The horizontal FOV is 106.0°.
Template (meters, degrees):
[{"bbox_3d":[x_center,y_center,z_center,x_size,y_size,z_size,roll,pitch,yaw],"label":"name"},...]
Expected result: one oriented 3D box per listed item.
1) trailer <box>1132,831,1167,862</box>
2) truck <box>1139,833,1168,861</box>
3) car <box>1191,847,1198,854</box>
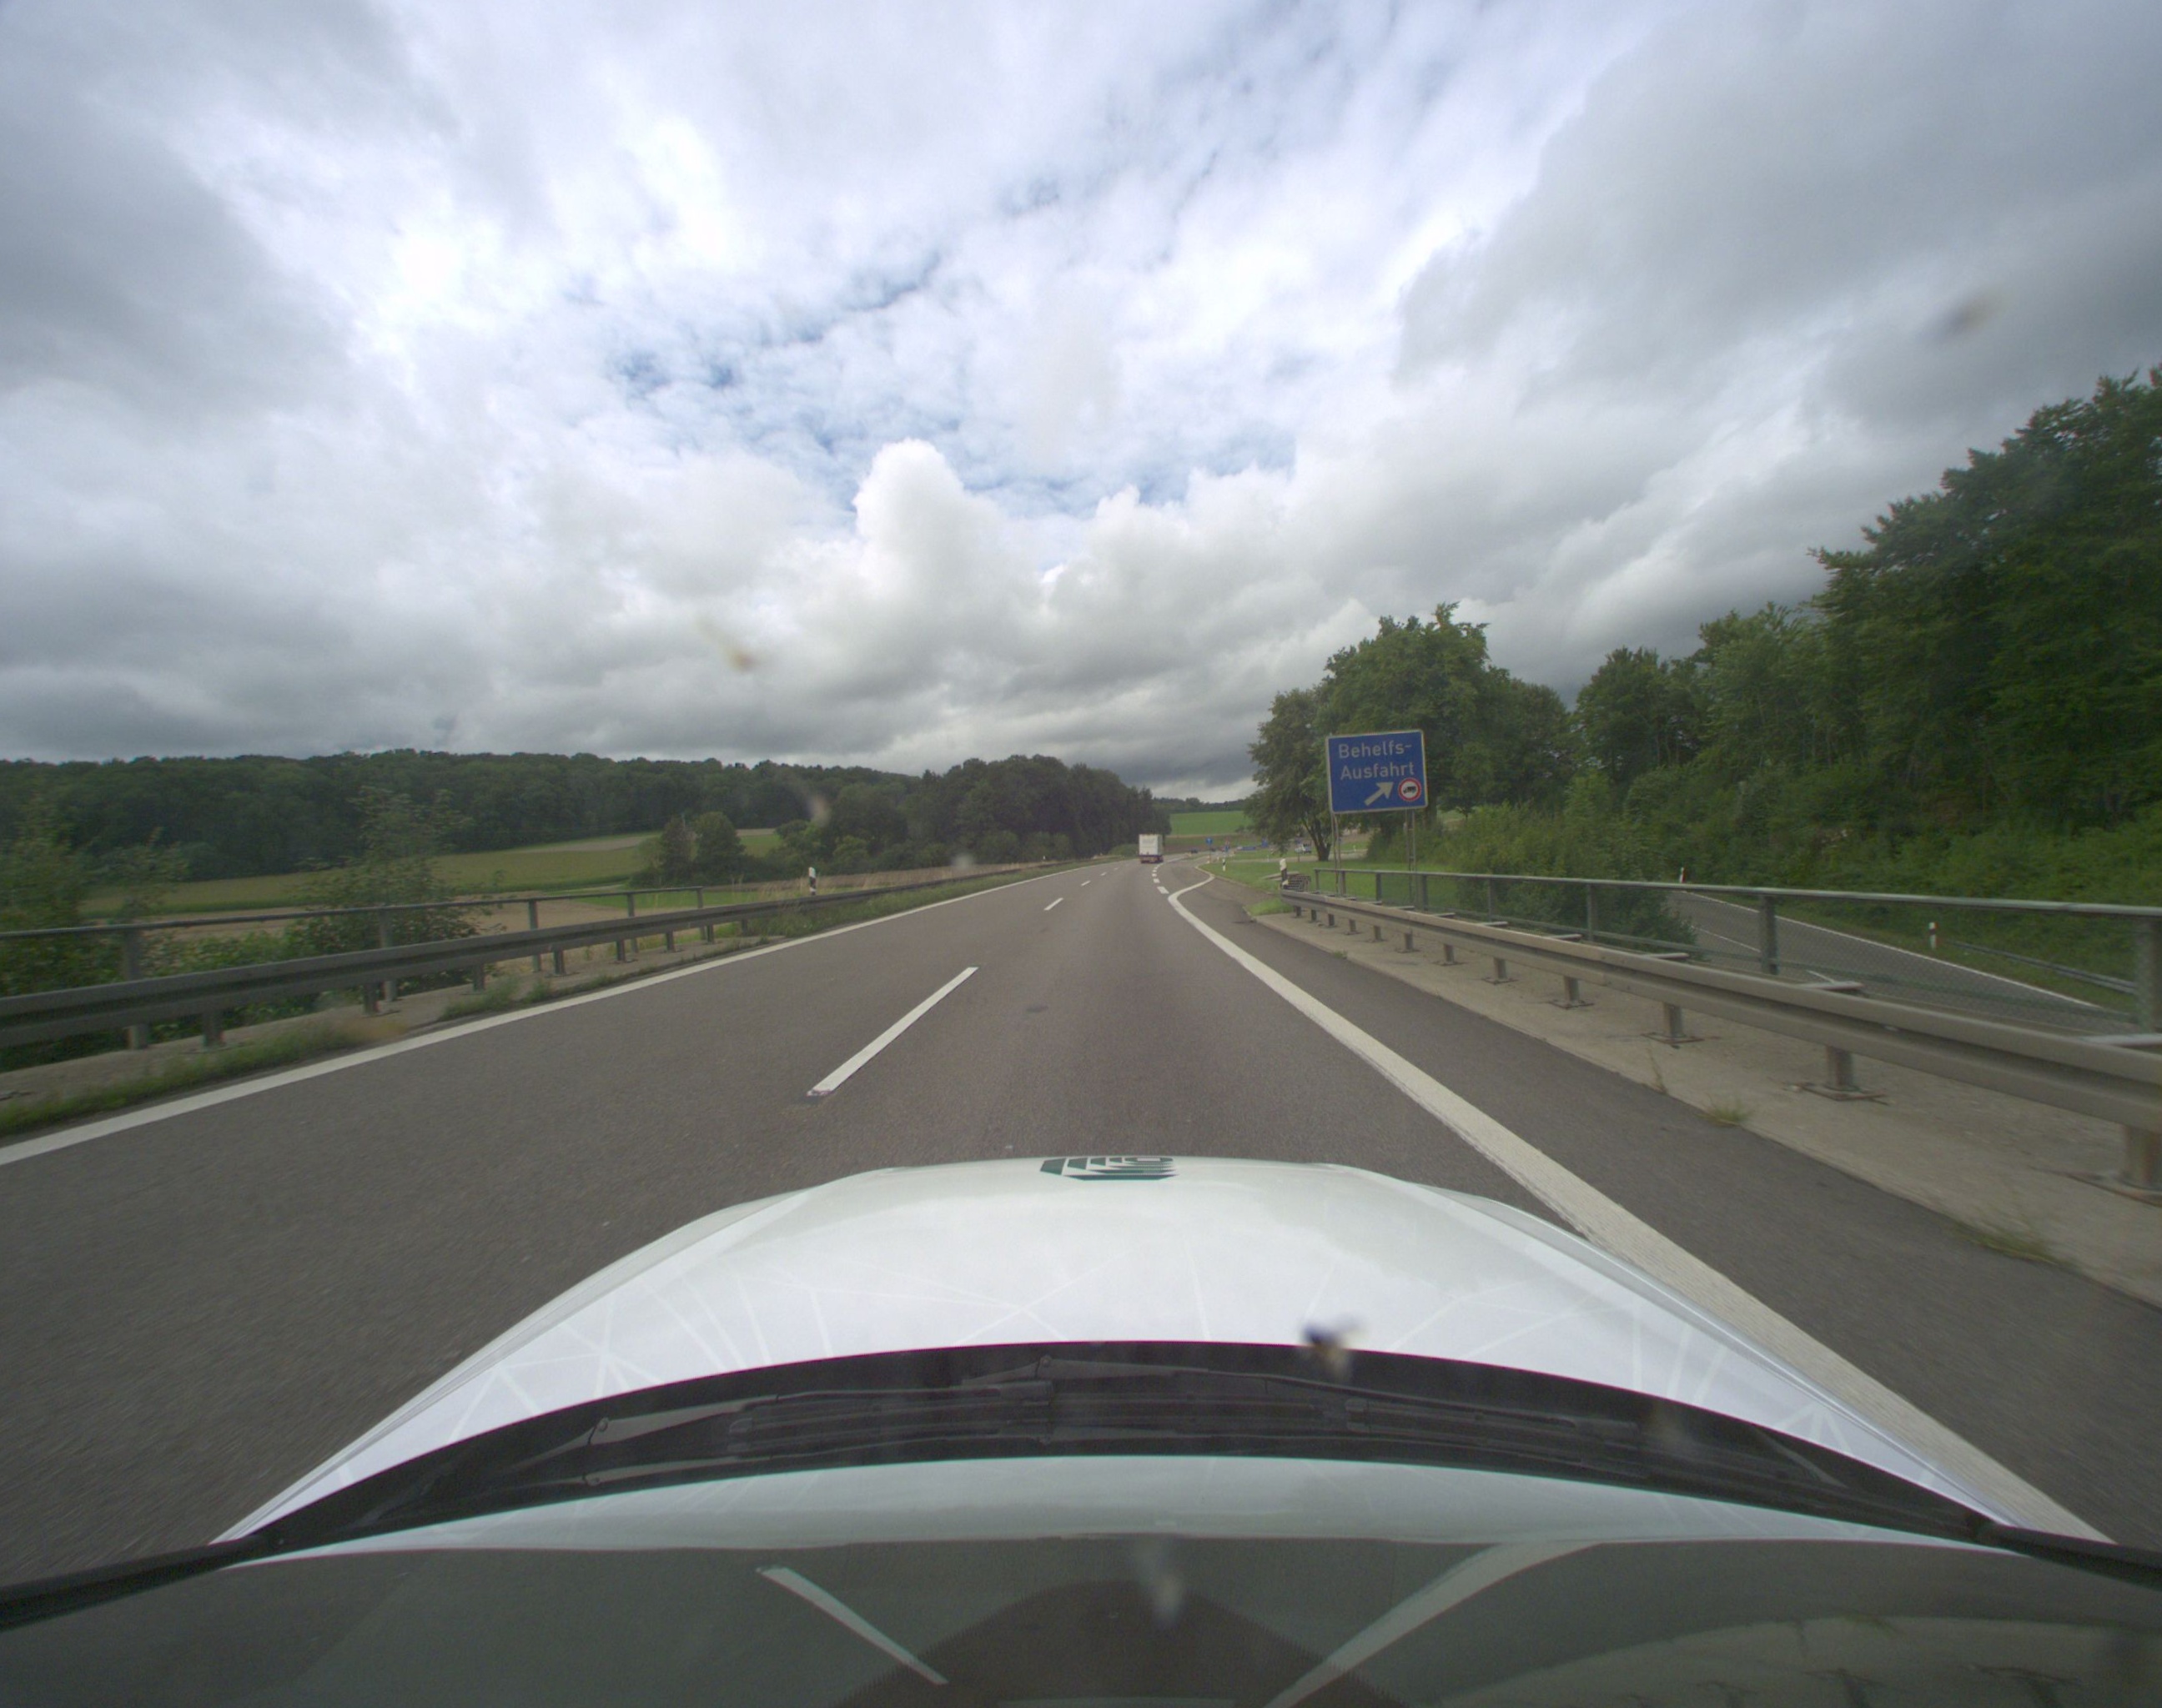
[{"bbox_3d":[9.910,-1.047,116.137,3.783,4.174,14.846,-1,0,9],"label":"trailer"},{"bbox_3d":[11.035,-1.091,123.131,3.766,4.131,8.285,0,0,9],"label":"truck"},{"bbox_3d":[34.007,-1.034,244.174,1.891,1.795,4.011,-1,-1,10],"label":"car"}]
